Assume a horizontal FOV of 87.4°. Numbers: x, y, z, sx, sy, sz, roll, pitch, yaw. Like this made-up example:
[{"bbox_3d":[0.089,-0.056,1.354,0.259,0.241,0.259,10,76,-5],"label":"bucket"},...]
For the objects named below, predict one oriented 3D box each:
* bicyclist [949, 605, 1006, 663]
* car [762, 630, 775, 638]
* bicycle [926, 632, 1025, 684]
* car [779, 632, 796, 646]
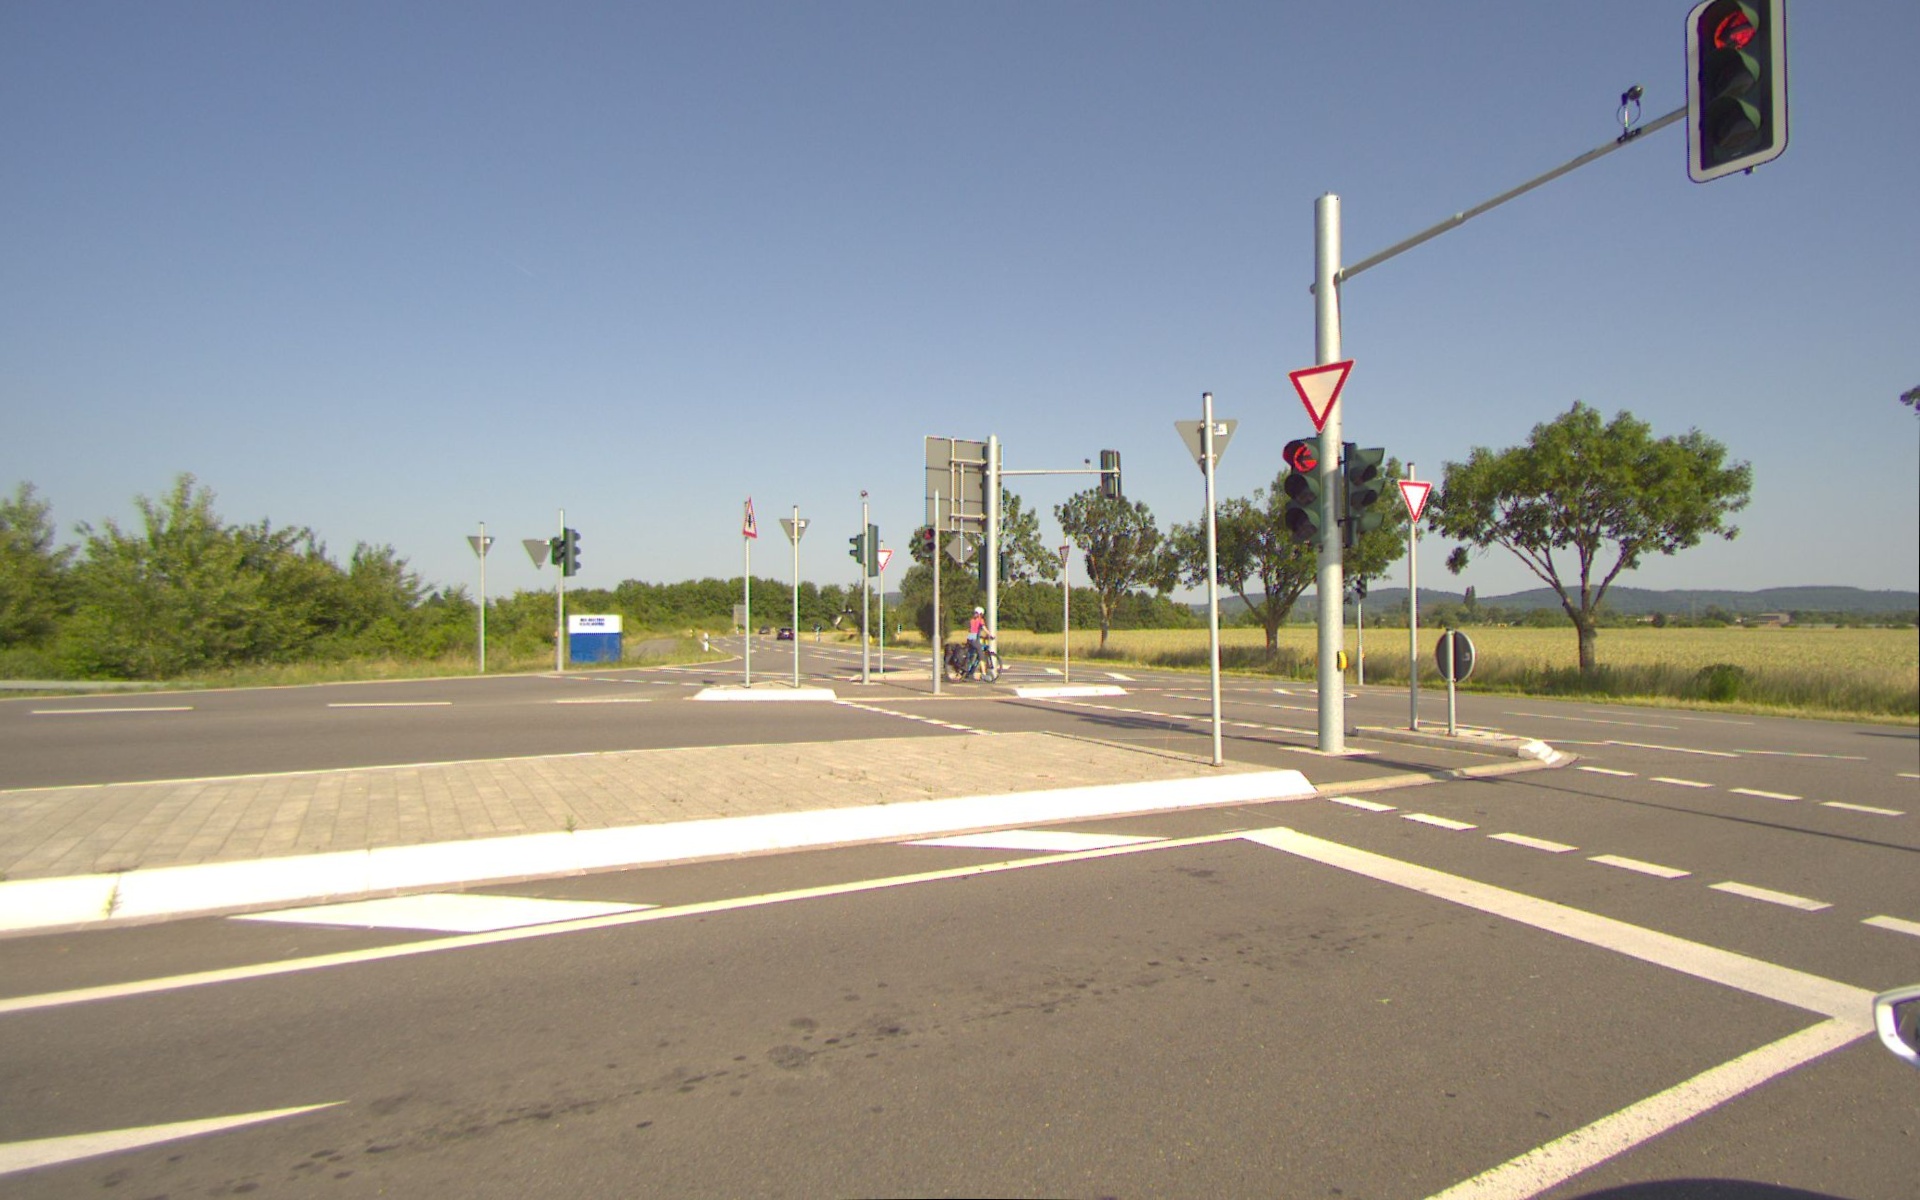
[{"bbox_3d":[0.420,0.815,24.146,1.062,1.369,0.851,3,-1,-33],"label":"bicyclist"},{"bbox_3d":[-31.804,5.659,166.905,1.707,1.127,3.998,2,-2,-5],"label":"car"},{"bbox_3d":[0.370,1.396,24.131,2.127,1.164,1.064,3,-1,-32],"label":"bicycle"},{"bbox_3d":[-19.476,4.393,113.300,1.700,1.544,3.460,2,-1,-14],"label":"car"}]
